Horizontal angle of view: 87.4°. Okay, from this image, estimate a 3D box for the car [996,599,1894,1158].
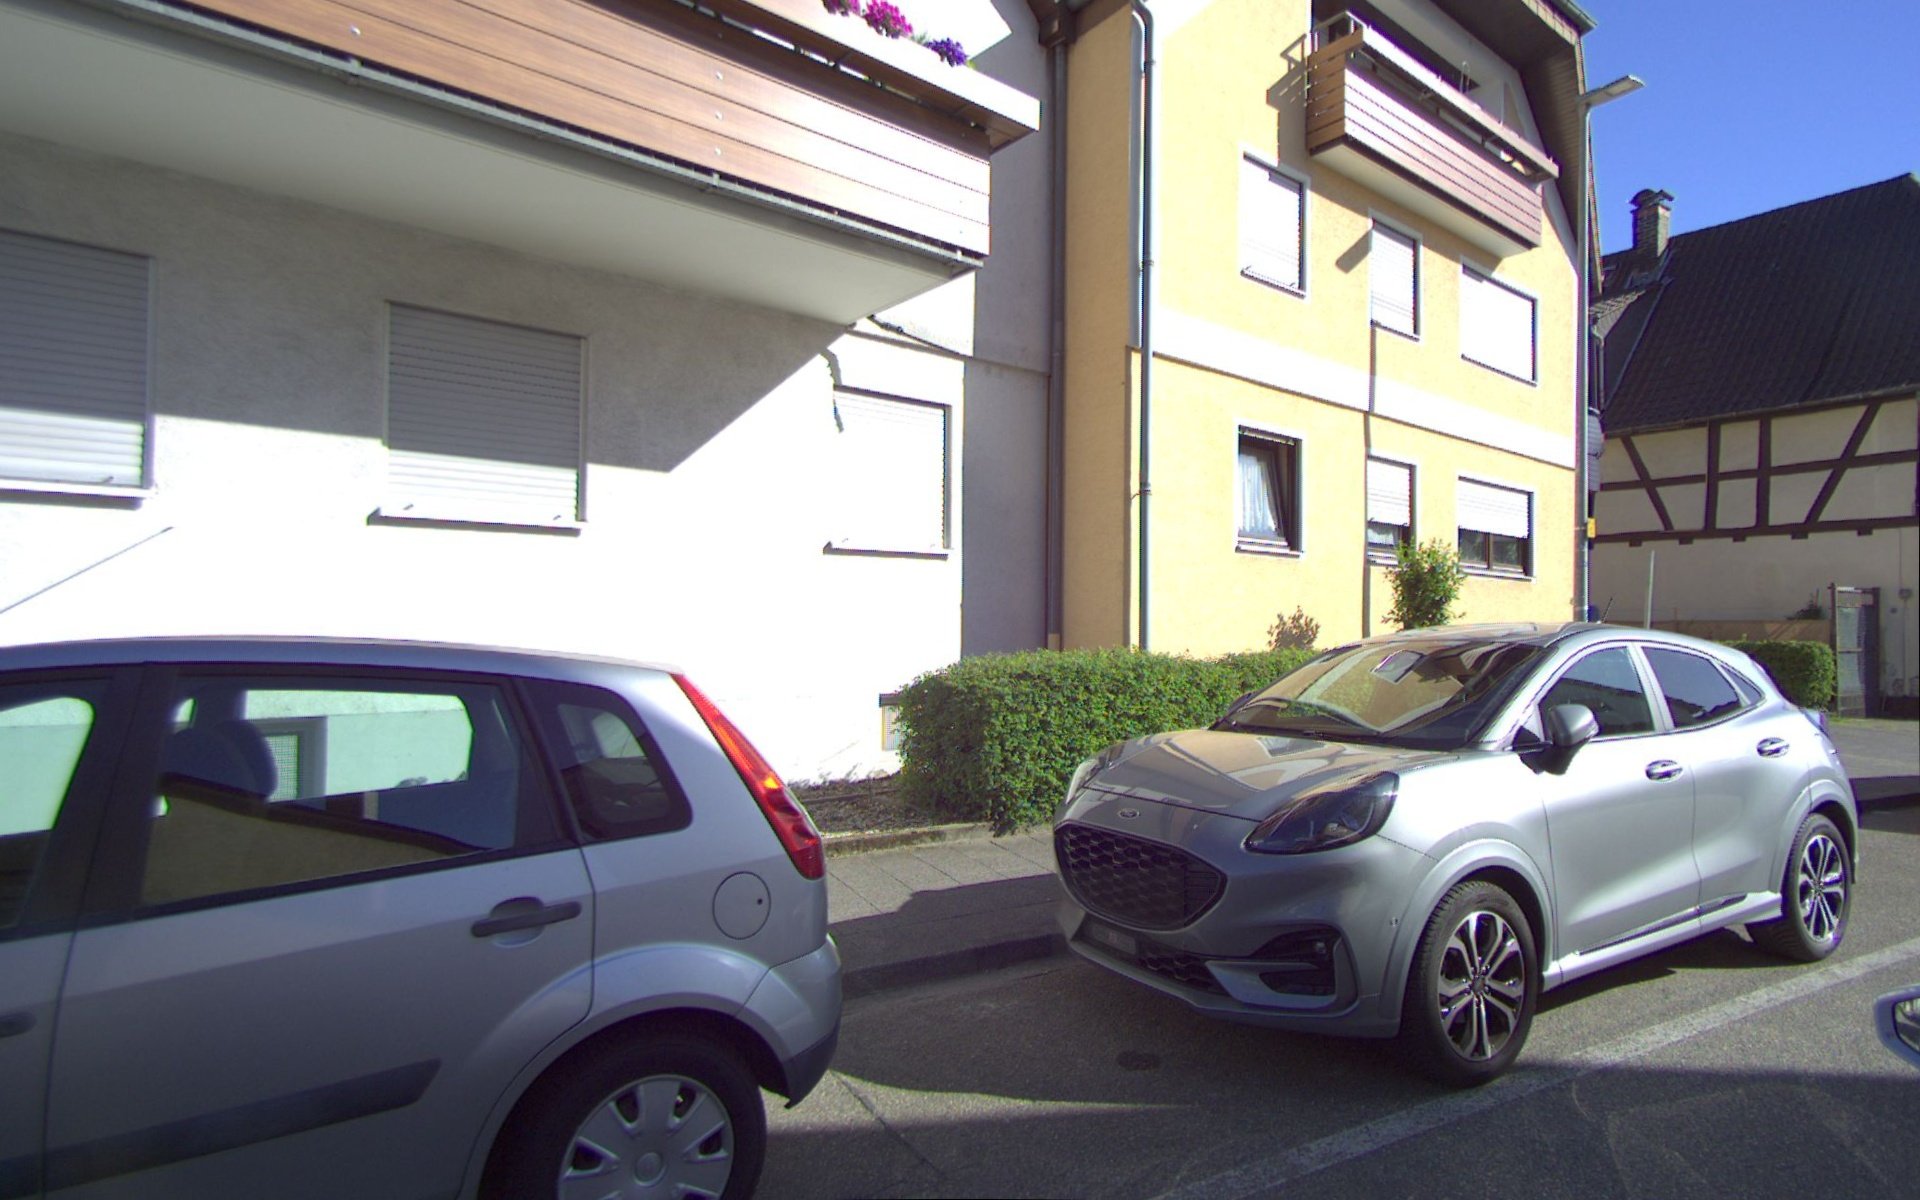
[{"bbox_3d":[2.303,0.825,4.510,4.046,1.525,1.666,1,-2,-30],"label":"car"}]

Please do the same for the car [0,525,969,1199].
[{"bbox_3d":[-2.020,0.687,2.305,3.809,1.525,1.623,1,-4,-31],"label":"car"}]

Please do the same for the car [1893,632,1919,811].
[{"bbox_3d":[9.934,1.037,8.668,4.026,1.460,1.631,2,-2,-30],"label":"car"}]
